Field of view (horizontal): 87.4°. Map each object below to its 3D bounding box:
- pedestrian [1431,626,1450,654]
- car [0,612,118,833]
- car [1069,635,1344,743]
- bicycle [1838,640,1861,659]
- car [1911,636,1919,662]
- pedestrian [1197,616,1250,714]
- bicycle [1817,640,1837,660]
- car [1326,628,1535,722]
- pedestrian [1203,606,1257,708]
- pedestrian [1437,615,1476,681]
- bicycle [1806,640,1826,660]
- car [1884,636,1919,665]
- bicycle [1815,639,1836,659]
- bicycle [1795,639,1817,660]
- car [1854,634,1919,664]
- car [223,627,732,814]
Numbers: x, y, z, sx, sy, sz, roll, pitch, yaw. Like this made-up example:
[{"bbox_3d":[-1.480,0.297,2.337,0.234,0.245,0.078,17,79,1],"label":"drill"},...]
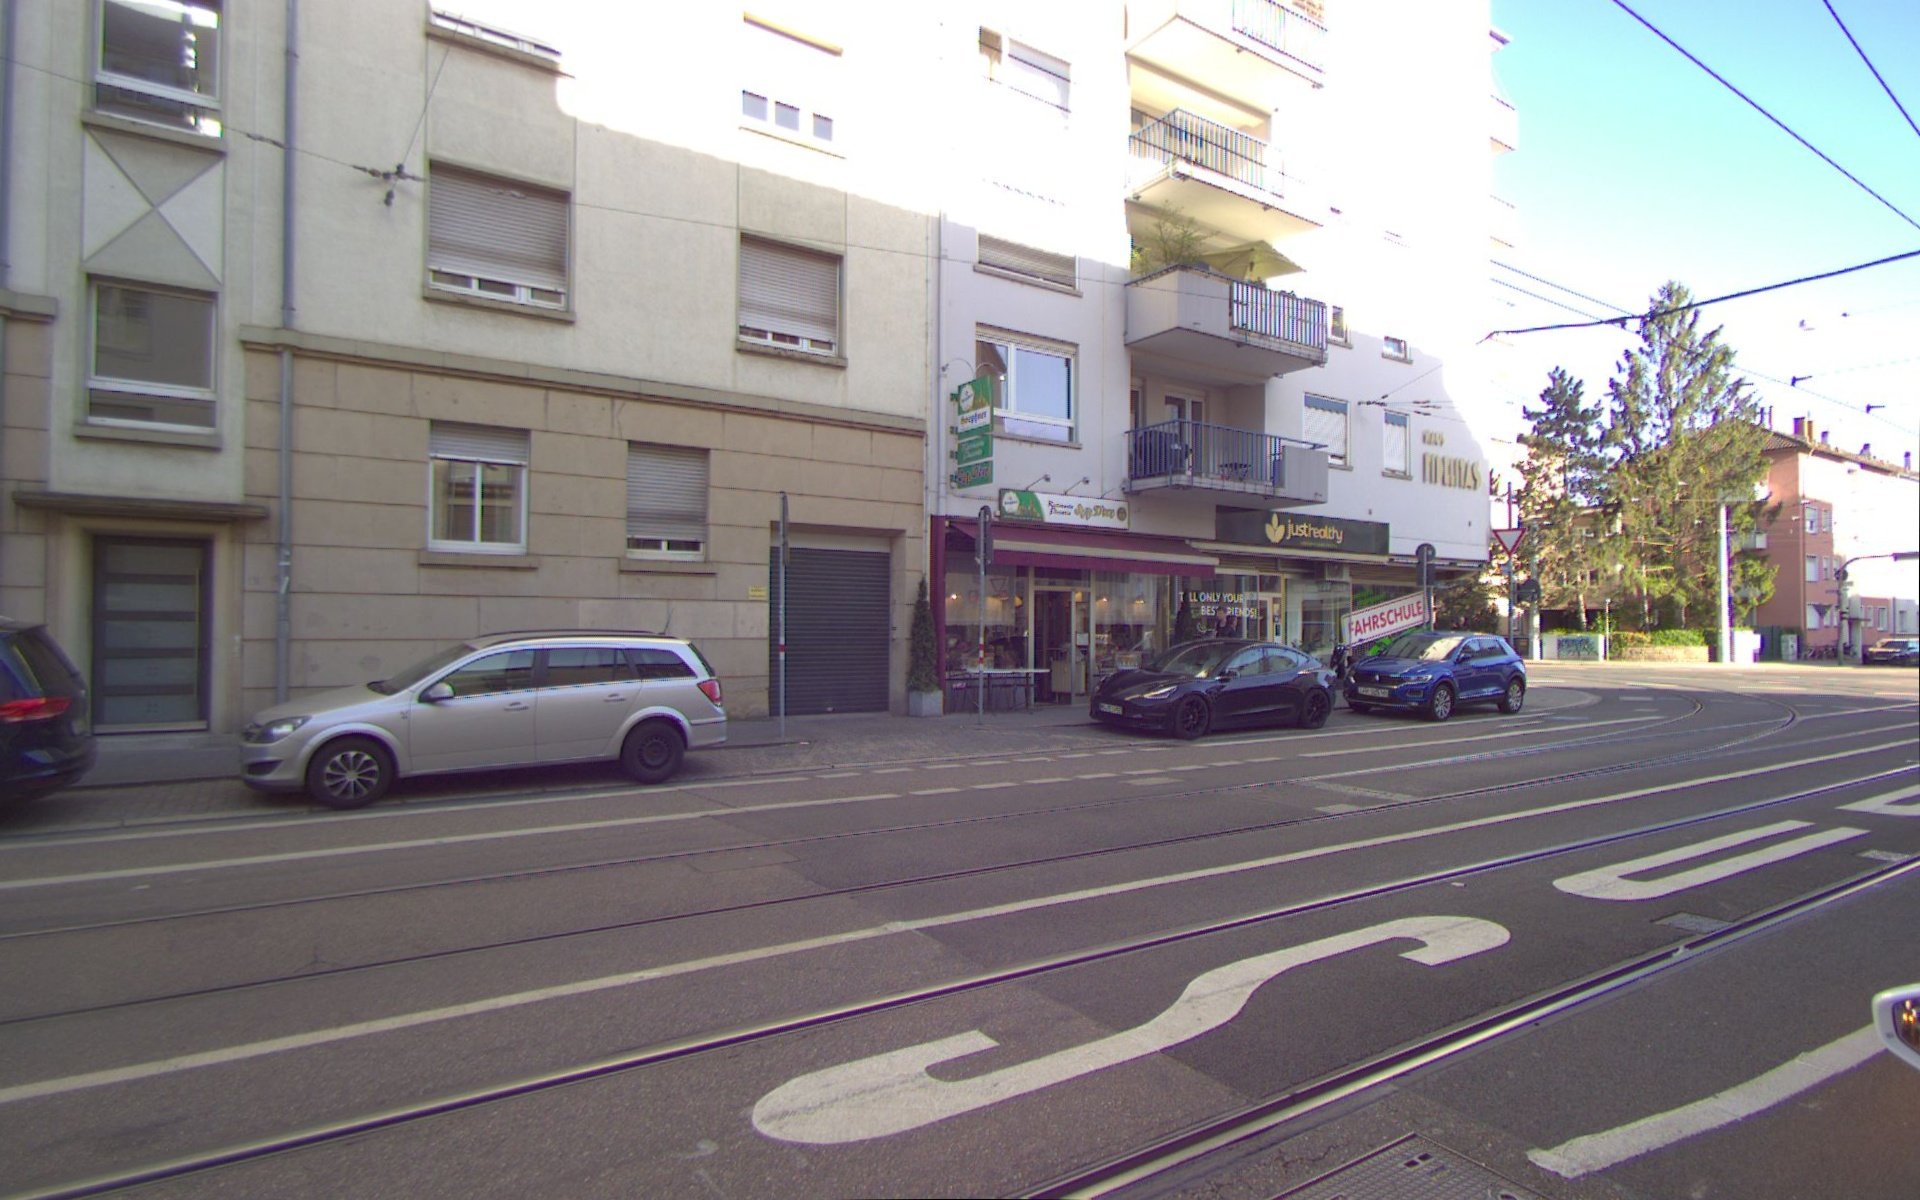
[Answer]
[{"bbox_3d":[29.393,2.428,61.490,0.672,1.725,0.805,1,-2,-30],"label":"pedestrian"},{"bbox_3d":[-9.003,0.882,7.183,4.343,1.620,1.785,1,-1,-34],"label":"car"},{"bbox_3d":[4.003,1.317,16.032,4.442,1.422,1.714,1,1,-34],"label":"car"},{"bbox_3d":[53.151,2.939,60.014,1.892,1.097,0.605,1,-2,-37],"label":"bicycle"},{"bbox_3d":[58.122,2.899,59.440,3.961,1.539,1.938,1,-2,-36],"label":"car"},{"bbox_3d":[4.778,1.165,18.225,0.722,1.731,0.600,1,-2,-32],"label":"pedestrian"},{"bbox_3d":[47.599,2.748,55.154,1.895,1.097,0.532,2,-2,-41],"label":"bicycle"},{"bbox_3d":[8.983,1.348,19.075,4.072,1.525,1.714,1,1,-34],"label":"car"},{"bbox_3d":[5.102,1.066,18.994,0.746,1.882,0.665,1,-2,-33],"label":"pedestrian"},{"bbox_3d":[14.239,1.362,28.841,0.707,1.859,0.771,0,-1,-3],"label":"pedestrian"},{"bbox_3d":[47.172,2.736,55.329,1.895,1.097,0.532,2,-2,-41],"label":"bicycle"},{"bbox_3d":[54.267,2.842,57.001,4.006,1.539,1.938,1,-2,-36],"label":"car"},{"bbox_3d":[50.735,2.862,58.870,1.892,1.097,0.533,1,-2,-37],"label":"bicycle"},{"bbox_3d":[46.876,2.726,55.621,1.895,1.097,0.634,2,-2,-41],"label":"bicycle"},{"bbox_3d":[49.719,2.618,53.772,3.961,1.539,1.938,1,-2,-36],"label":"car"},{"bbox_3d":[-4.716,1.052,10.204,4.343,1.497,1.785,1,-1,-34],"label":"car"}]
